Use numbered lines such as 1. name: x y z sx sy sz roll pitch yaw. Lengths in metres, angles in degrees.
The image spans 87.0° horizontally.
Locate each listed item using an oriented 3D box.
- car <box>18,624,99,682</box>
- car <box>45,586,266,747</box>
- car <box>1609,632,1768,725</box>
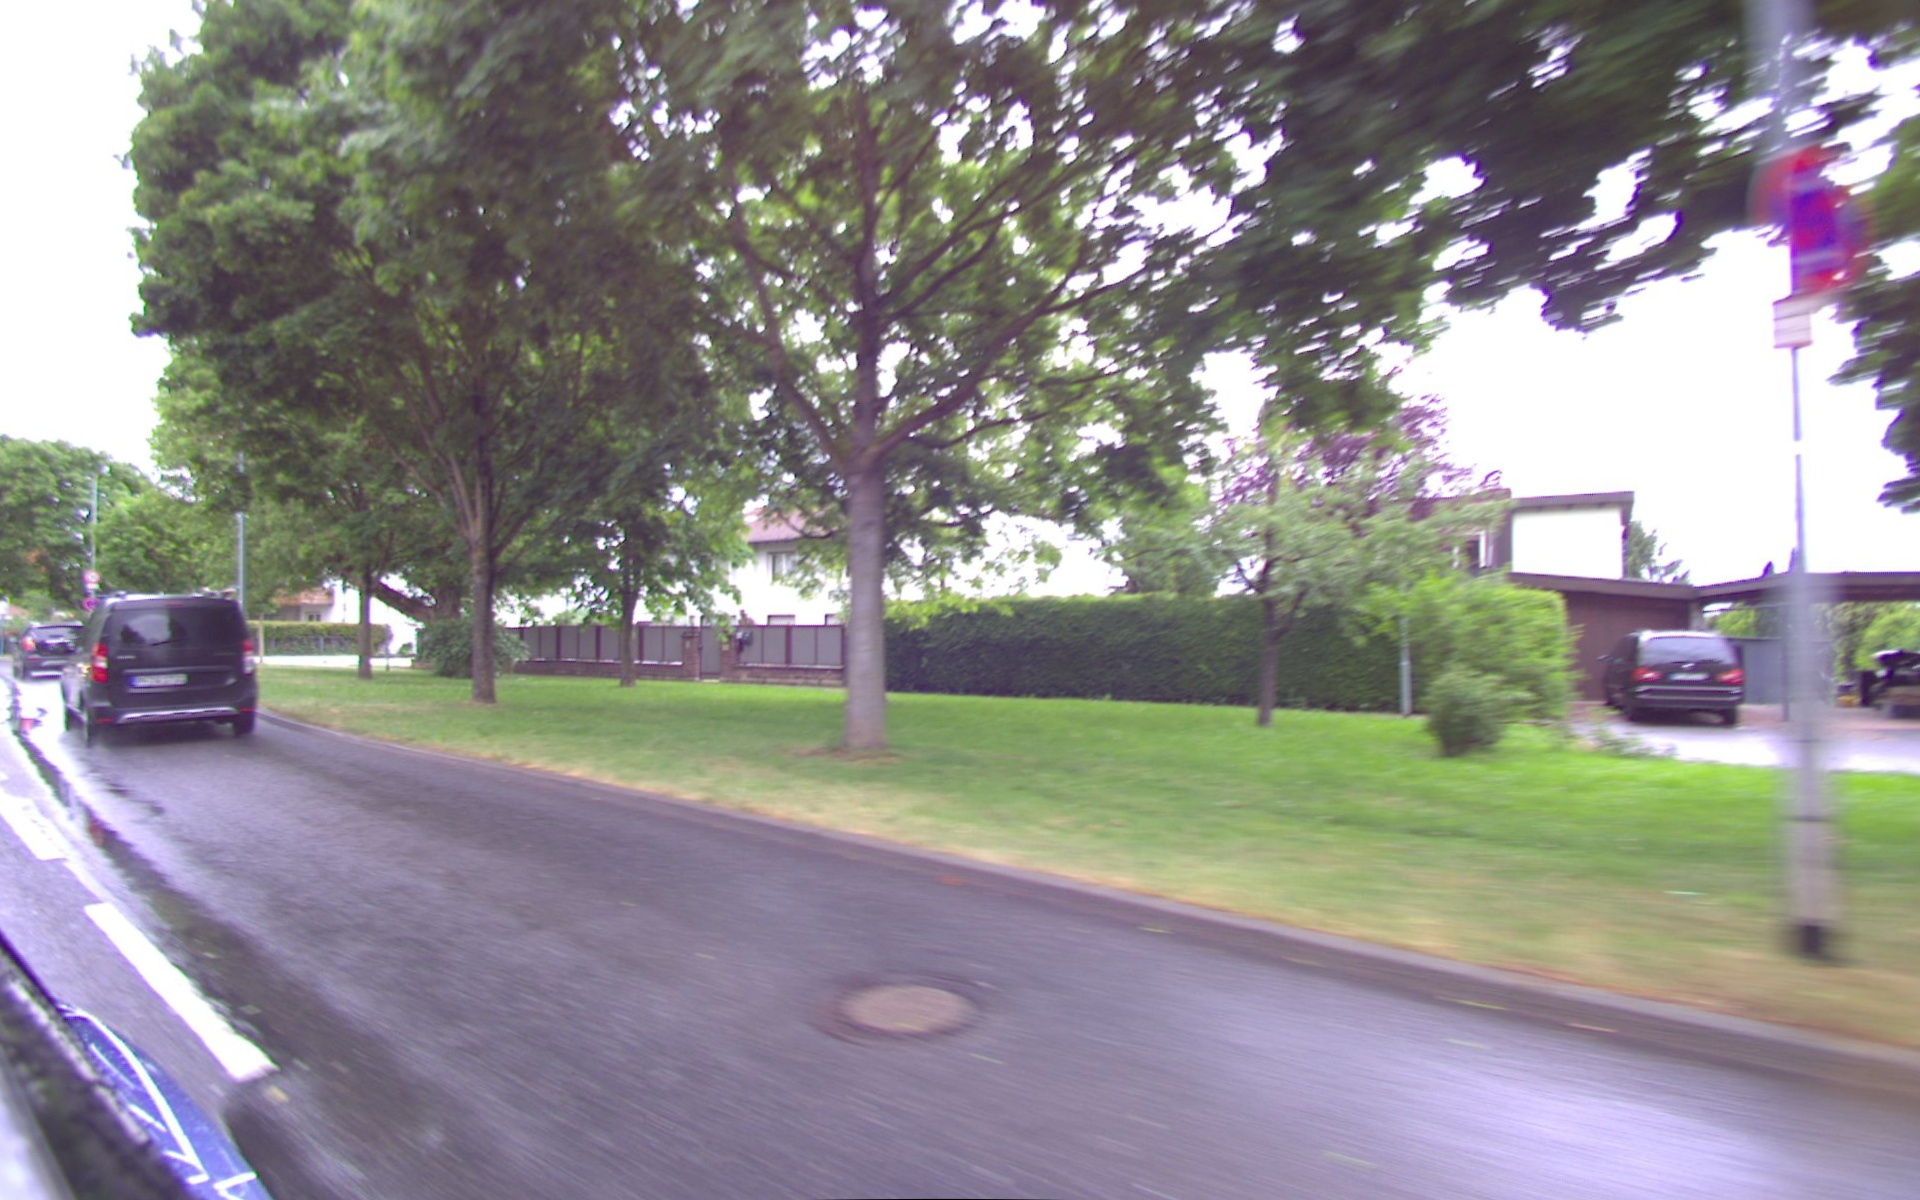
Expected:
1. car: -27.057 1.545 30.343 1.689 1.609 4.176 1 -2 -43
2. car: -10.758 0.801 13.411 4.287 1.787 1.756 -2 -2 44
3. car: 14.055 1.451 19.779 1.894 1.606 3.963 -1 -3 27
